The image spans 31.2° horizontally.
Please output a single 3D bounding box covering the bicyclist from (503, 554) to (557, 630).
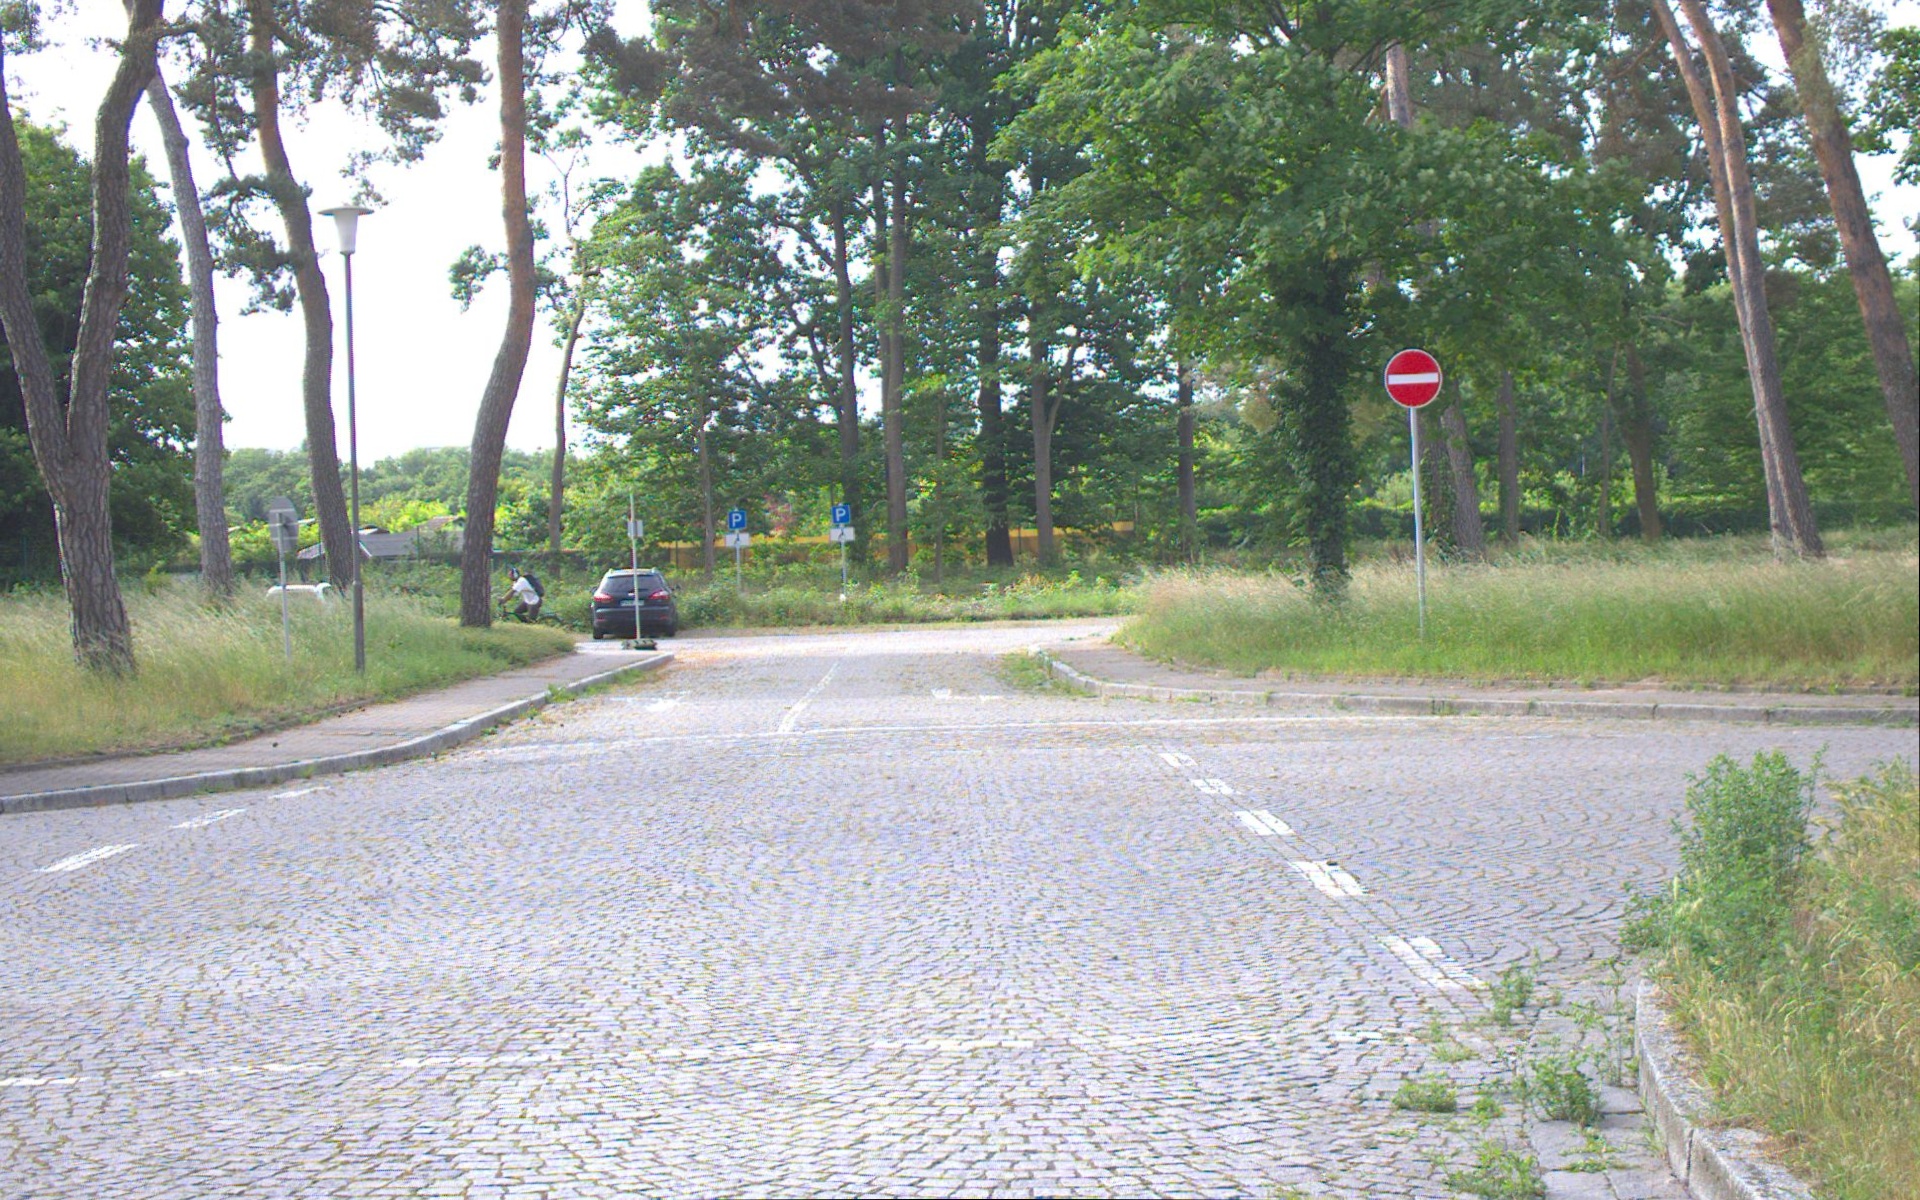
[{"bbox_3d":[-8.706,-0.170,69.617,0.974,1.505,0.807,-2,1,-4],"label":"bicyclist"}]

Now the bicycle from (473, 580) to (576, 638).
[{"bbox_3d":[-8.809,0.183,69.599,1.986,1.091,0.810,-2,1,-4],"label":"bicycle"}]

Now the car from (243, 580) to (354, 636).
[{"bbox_3d":[-15.022,0.171,78.216,1.689,1.152,4.000,-2,1,0],"label":"car"}]

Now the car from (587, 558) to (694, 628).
[{"bbox_3d":[-7.123,-0.184,77.065,1.993,1.503,4.000,0,1,0],"label":"car"}]
